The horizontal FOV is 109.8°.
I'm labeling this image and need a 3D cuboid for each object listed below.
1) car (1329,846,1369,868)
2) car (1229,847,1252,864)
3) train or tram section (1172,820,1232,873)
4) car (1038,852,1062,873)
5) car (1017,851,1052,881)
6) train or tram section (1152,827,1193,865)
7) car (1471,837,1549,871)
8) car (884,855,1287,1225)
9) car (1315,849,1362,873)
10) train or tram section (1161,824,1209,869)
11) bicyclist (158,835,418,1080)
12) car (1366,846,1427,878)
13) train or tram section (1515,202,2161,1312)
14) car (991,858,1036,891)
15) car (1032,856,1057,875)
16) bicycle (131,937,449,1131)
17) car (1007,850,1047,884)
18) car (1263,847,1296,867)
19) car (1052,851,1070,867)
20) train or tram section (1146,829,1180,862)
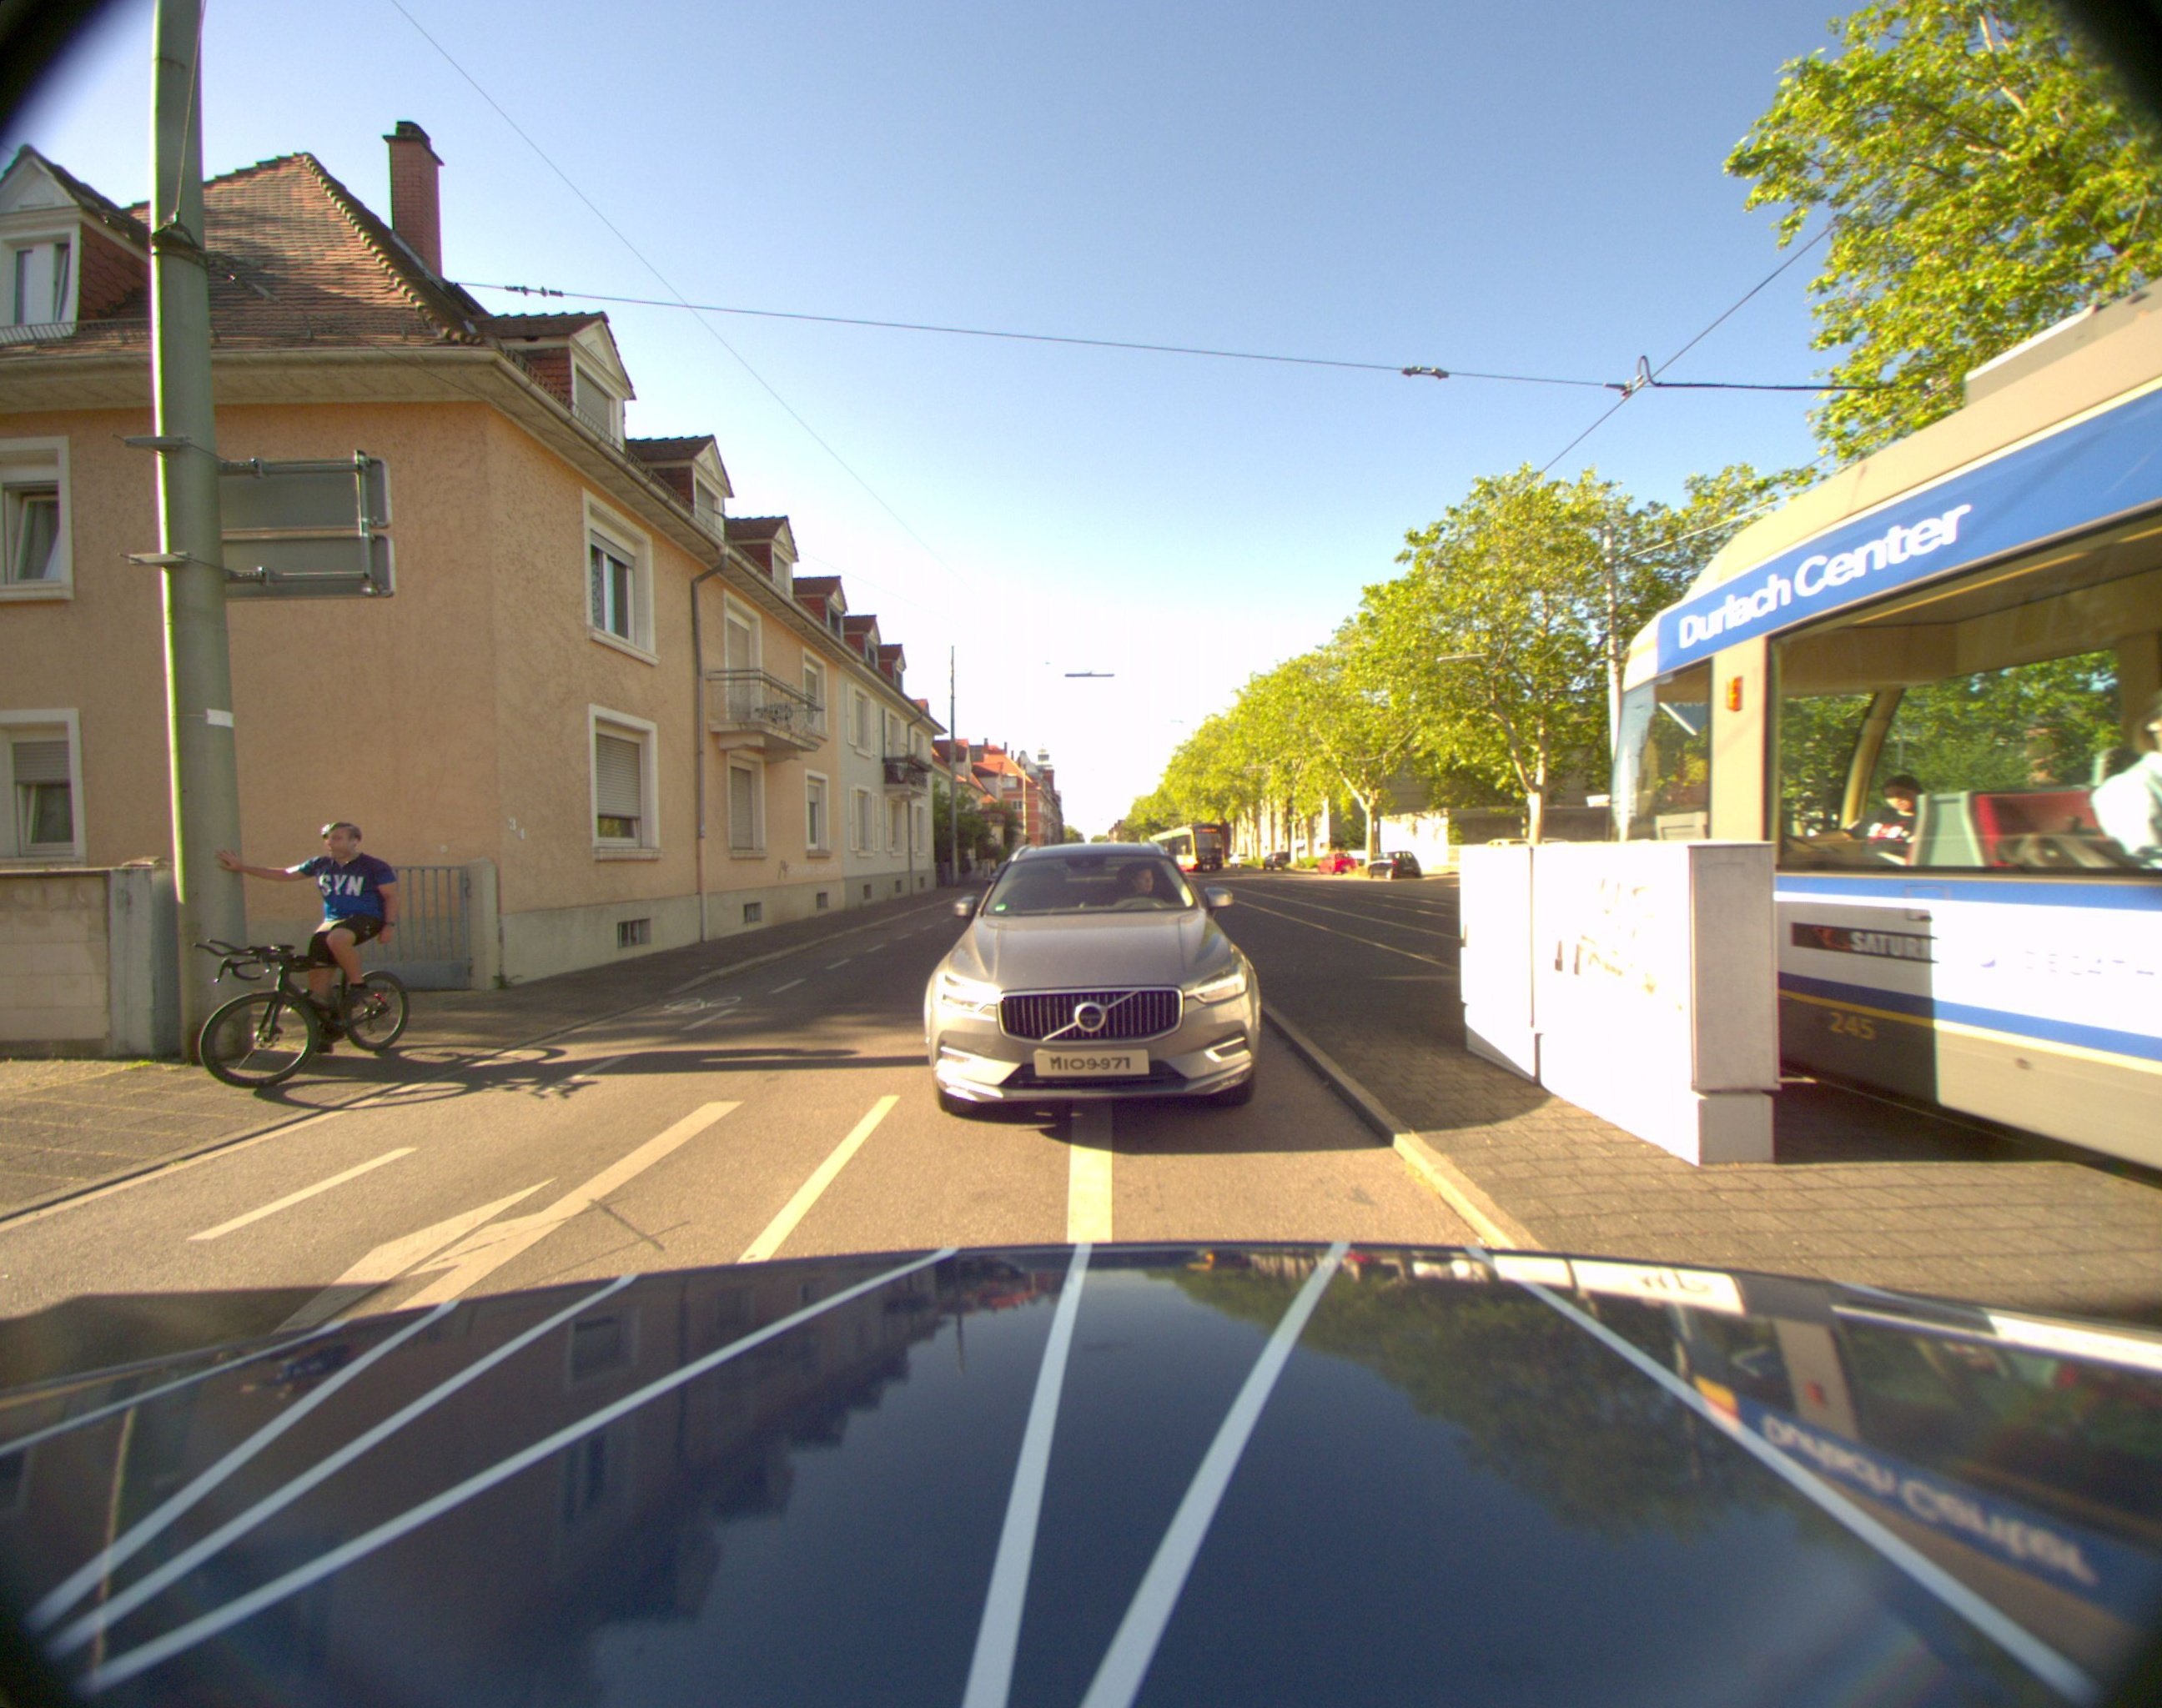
[{"bbox_3d":[20.467,0.220,58.210,1.754,1.582,3.661,-3,0,1],"label":"car"},{"bbox_3d":[17.501,0.127,83.540,1.845,1.664,4.098,-4,0,3],"label":"car"},{"bbox_3d":[8.694,-0.558,55.879,2.862,3.456,10.182,-2,1,1],"label":"train or tram section"},{"bbox_3d":[-2.666,0.701,65.767,1.847,1.681,4.000,-1,0,0],"label":"car"},{"bbox_3d":[-2.790,0.701,46.635,1.847,1.681,4.000,-1,0,0],"label":"car"},{"bbox_3d":[9.050,-0.831,76.284,2.843,3.456,10.182,-2,1,1],"label":"train or tram section"},{"bbox_3d":[21.755,-0.021,38.710,1.845,1.524,4.001,-4,0,4],"label":"car"},{"bbox_3d":[0.003,0.891,5.785,1.892,1.695,4.318,-1,0,-1],"label":"car"},{"bbox_3d":[16.969,0.452,50.307,1.845,1.400,4.001,-4,0,3],"label":"car"},{"bbox_3d":[8.863,-0.671,66.045,2.843,3.456,10.182,-2,1,1],"label":"train or tram section"},{"bbox_3d":[-6.171,0.758,5.979,1.071,1.728,0.853,4,1,1],"label":"bicyclist"},{"bbox_3d":[16.972,0.415,41.083,1.845,1.524,4.001,-4,0,4],"label":"car"},{"bbox_3d":[4.798,-0.314,1.982,2.821,3.479,7.962,-1,0,1],"label":"train or tram section"},{"bbox_3d":[-3.224,0.951,36.974,1.847,1.412,3.999,-1,0,-1],"label":"car"},{"bbox_3d":[-2.871,0.866,60.404,1.808,1.402,3.999,-1,0,-1],"label":"car"},{"bbox_3d":[-5.930,1.280,5.867,0.594,1.045,1.719,4,1,1],"label":"bicycle"},{"bbox_3d":[-2.958,0.691,42.319,1.847,1.742,4.144,-1,0,0],"label":"car"},{"bbox_3d":[17.177,0.232,65.892,1.845,1.607,4.098,-4,0,3],"label":"car"},{"bbox_3d":[-2.232,0.559,85.482,1.999,1.641,4.658,-1,0,-1],"label":"car"},{"bbox_3d":[9.178,-0.977,86.436,2.843,3.456,10.182,-2,1,1],"label":"train or tram section"}]
